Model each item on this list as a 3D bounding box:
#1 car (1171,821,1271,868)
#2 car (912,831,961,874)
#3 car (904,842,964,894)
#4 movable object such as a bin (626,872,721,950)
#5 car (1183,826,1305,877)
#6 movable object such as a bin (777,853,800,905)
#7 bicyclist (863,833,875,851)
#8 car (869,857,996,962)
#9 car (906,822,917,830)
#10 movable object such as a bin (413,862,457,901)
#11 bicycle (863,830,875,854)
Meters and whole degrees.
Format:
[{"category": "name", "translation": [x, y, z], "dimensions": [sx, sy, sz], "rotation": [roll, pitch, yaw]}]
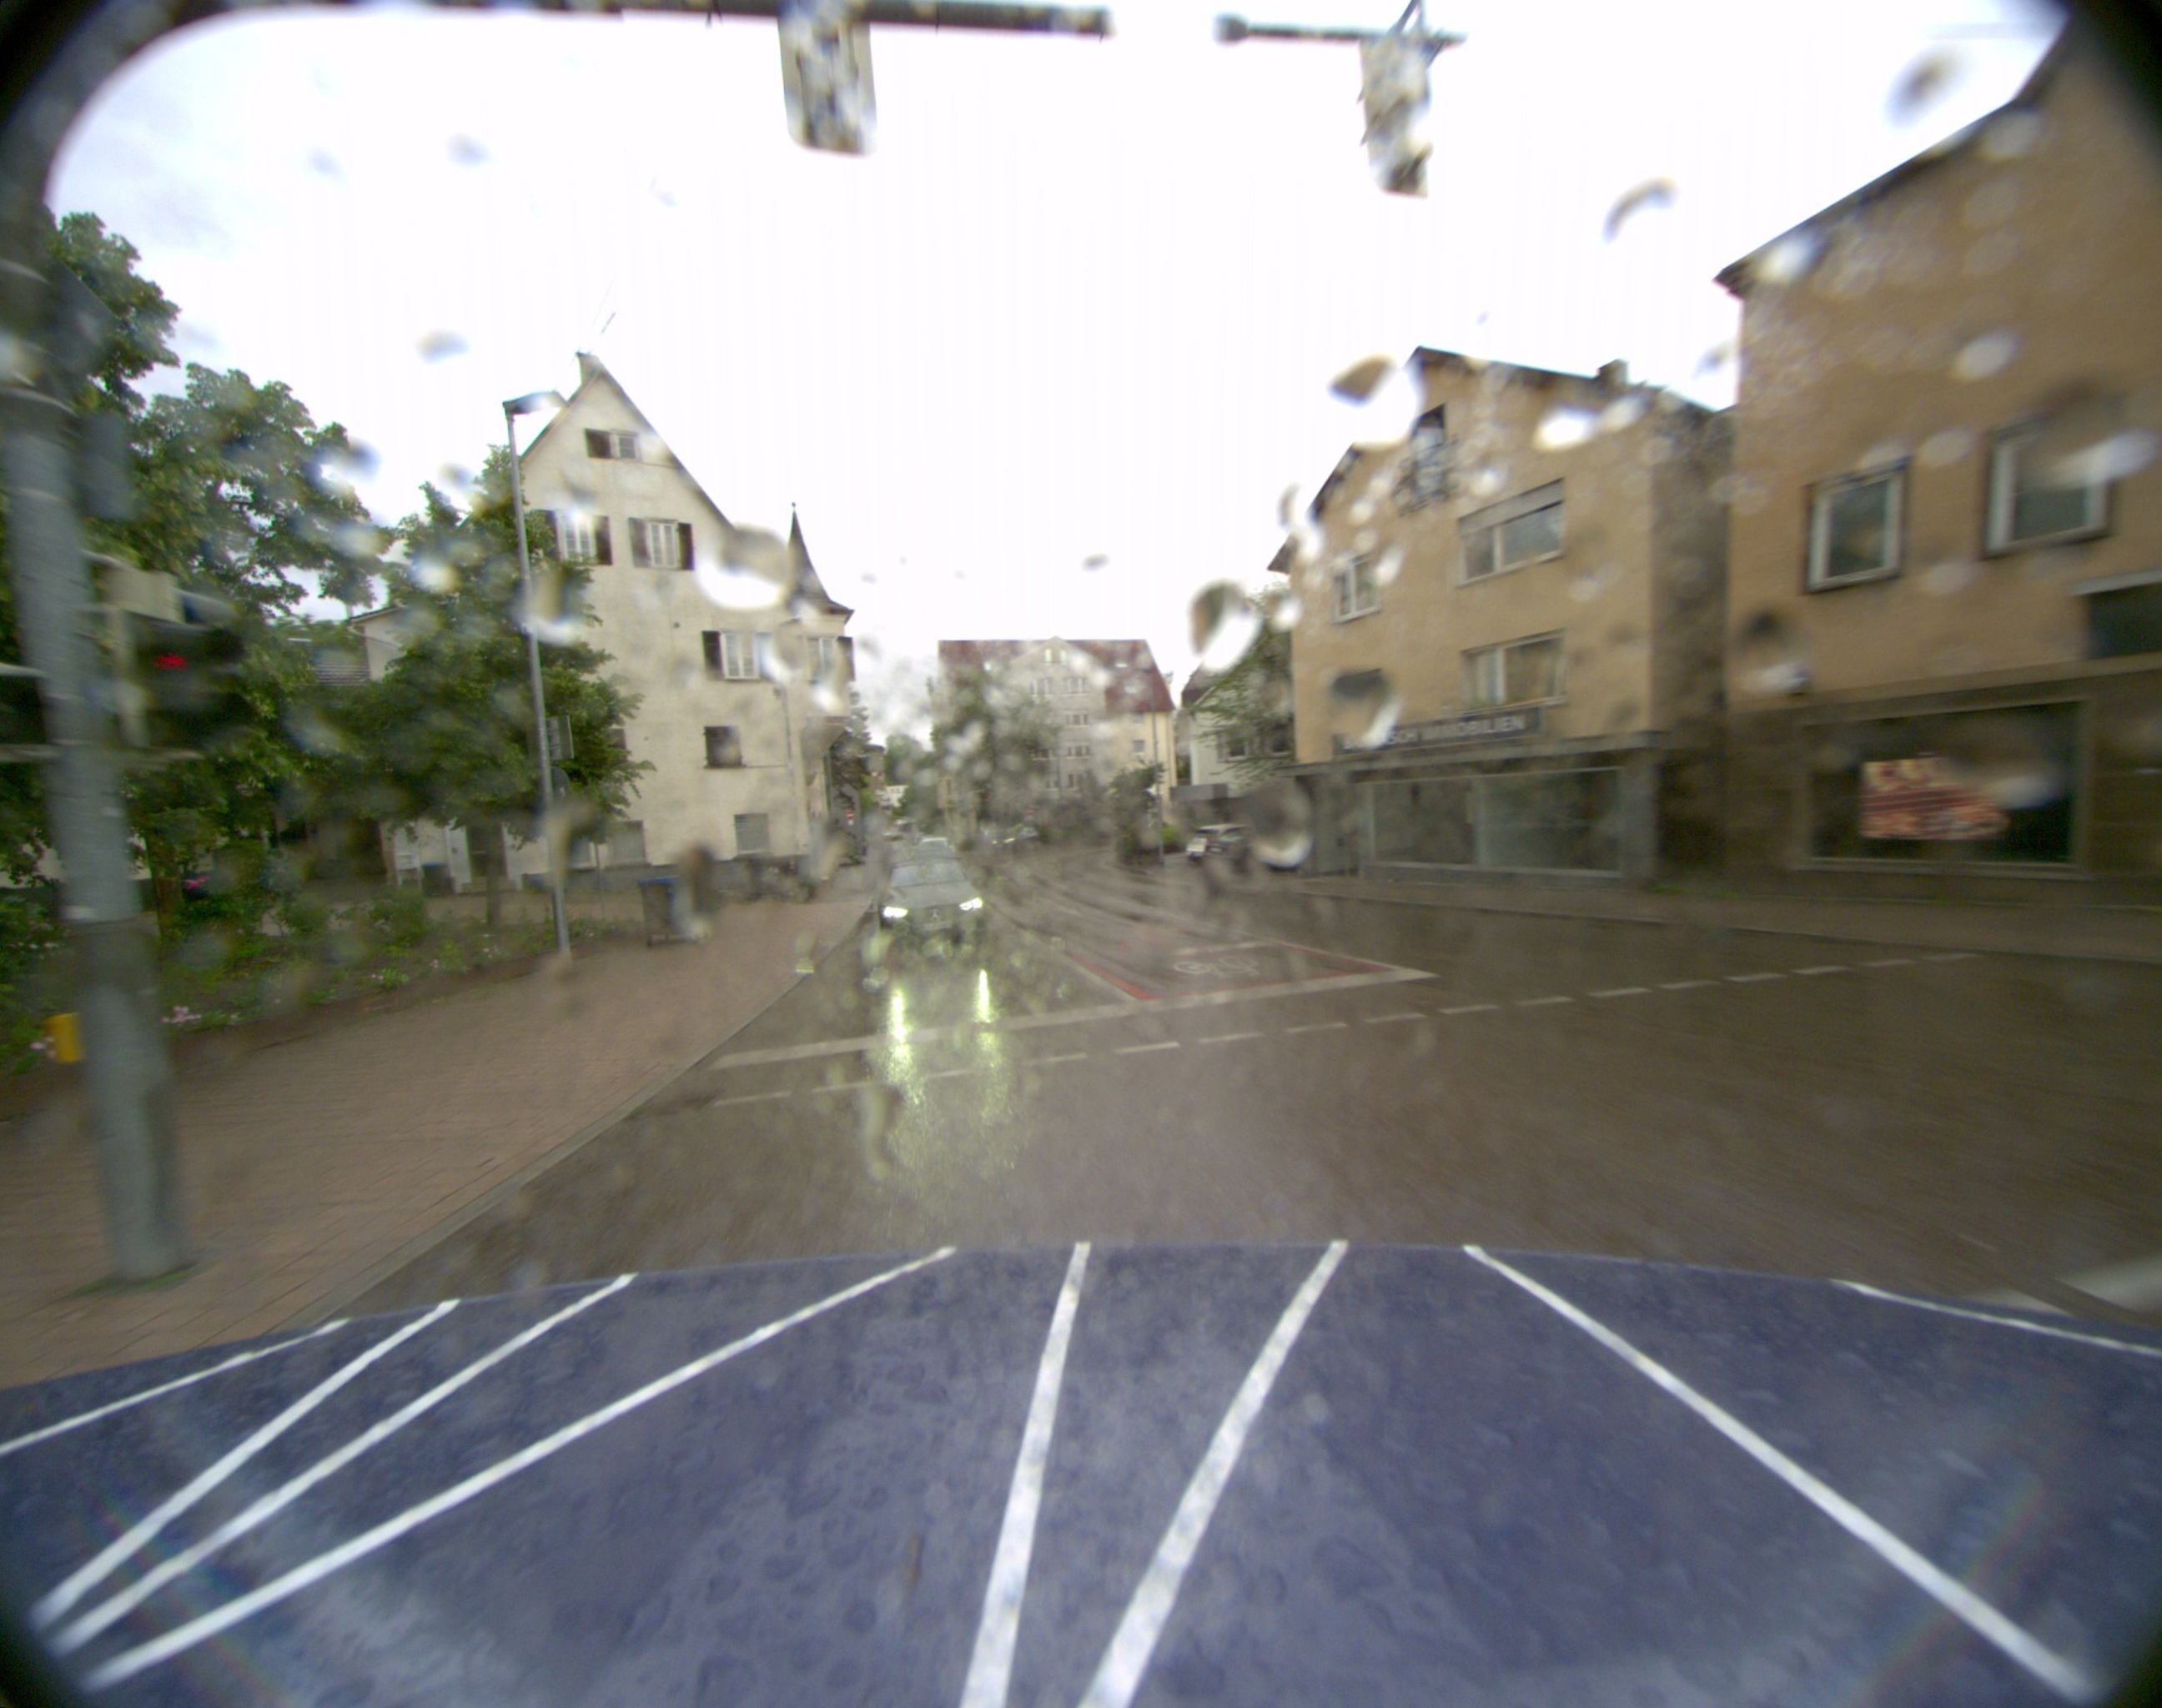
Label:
[{"category": "car", "translation": [5.695, -0.413, 30.742], "dimensions": [3.651, 1.620, 1.994], "rotation": [-6, 5, -39]}, {"category": "car", "translation": [-6.995, -0.115, 37.139], "dimensions": [1.814, 1.558, 3.993], "rotation": [-2, 7, -3]}, {"category": "car", "translation": [-5.262, 0.432, 27.684], "dimensions": [1.774, 1.525, 4.372], "rotation": [-3, 3, -7]}, {"category": "movable object such as a bin", "translation": [-7.872, 1.080, 14.766], "dimensions": [1.158, 1.306, 1.185], "rotation": [-3, 3, -6]}, {"category": "car", "translation": [5.871, -0.148, 27.231], "dimensions": [4.005, 1.446, 1.895], "rotation": [-6, 4, -31]}, {"category": "movable object such as a bin", "translation": [-8.582, 0.723, 22.293], "dimensions": [0.414, 1.435, 0.642], "rotation": [-5, 6, -36]}, {"category": "bicyclist", "translation": [-20.996, -1.164, 75.304], "dimensions": [0.687, 1.025, 1.511], "rotation": [14, -42, -26]}, {"category": "car", "translation": [-2.933, 0.923, 14.767], "dimensions": [2.000, 1.485, 4.307], "rotation": [-3, 2, -13]}, {"category": "car", "translation": [-35.916, -5.889, 161.326], "dimensions": [2.000, 1.564, 3.996], "rotation": [-3, 2, -9]}, {"category": "movable object such as a bin", "translation": [-17.109, 0.717, 20.133], "dimensions": [0.659, 0.917, 0.592], "rotation": [-2, 7, -21]}, {"category": "bicycle", "translation": [-21.076, -1.176, 75.622], "dimensions": [0.766, 2.071, 1.030], "rotation": [16, -43, -28]}]
